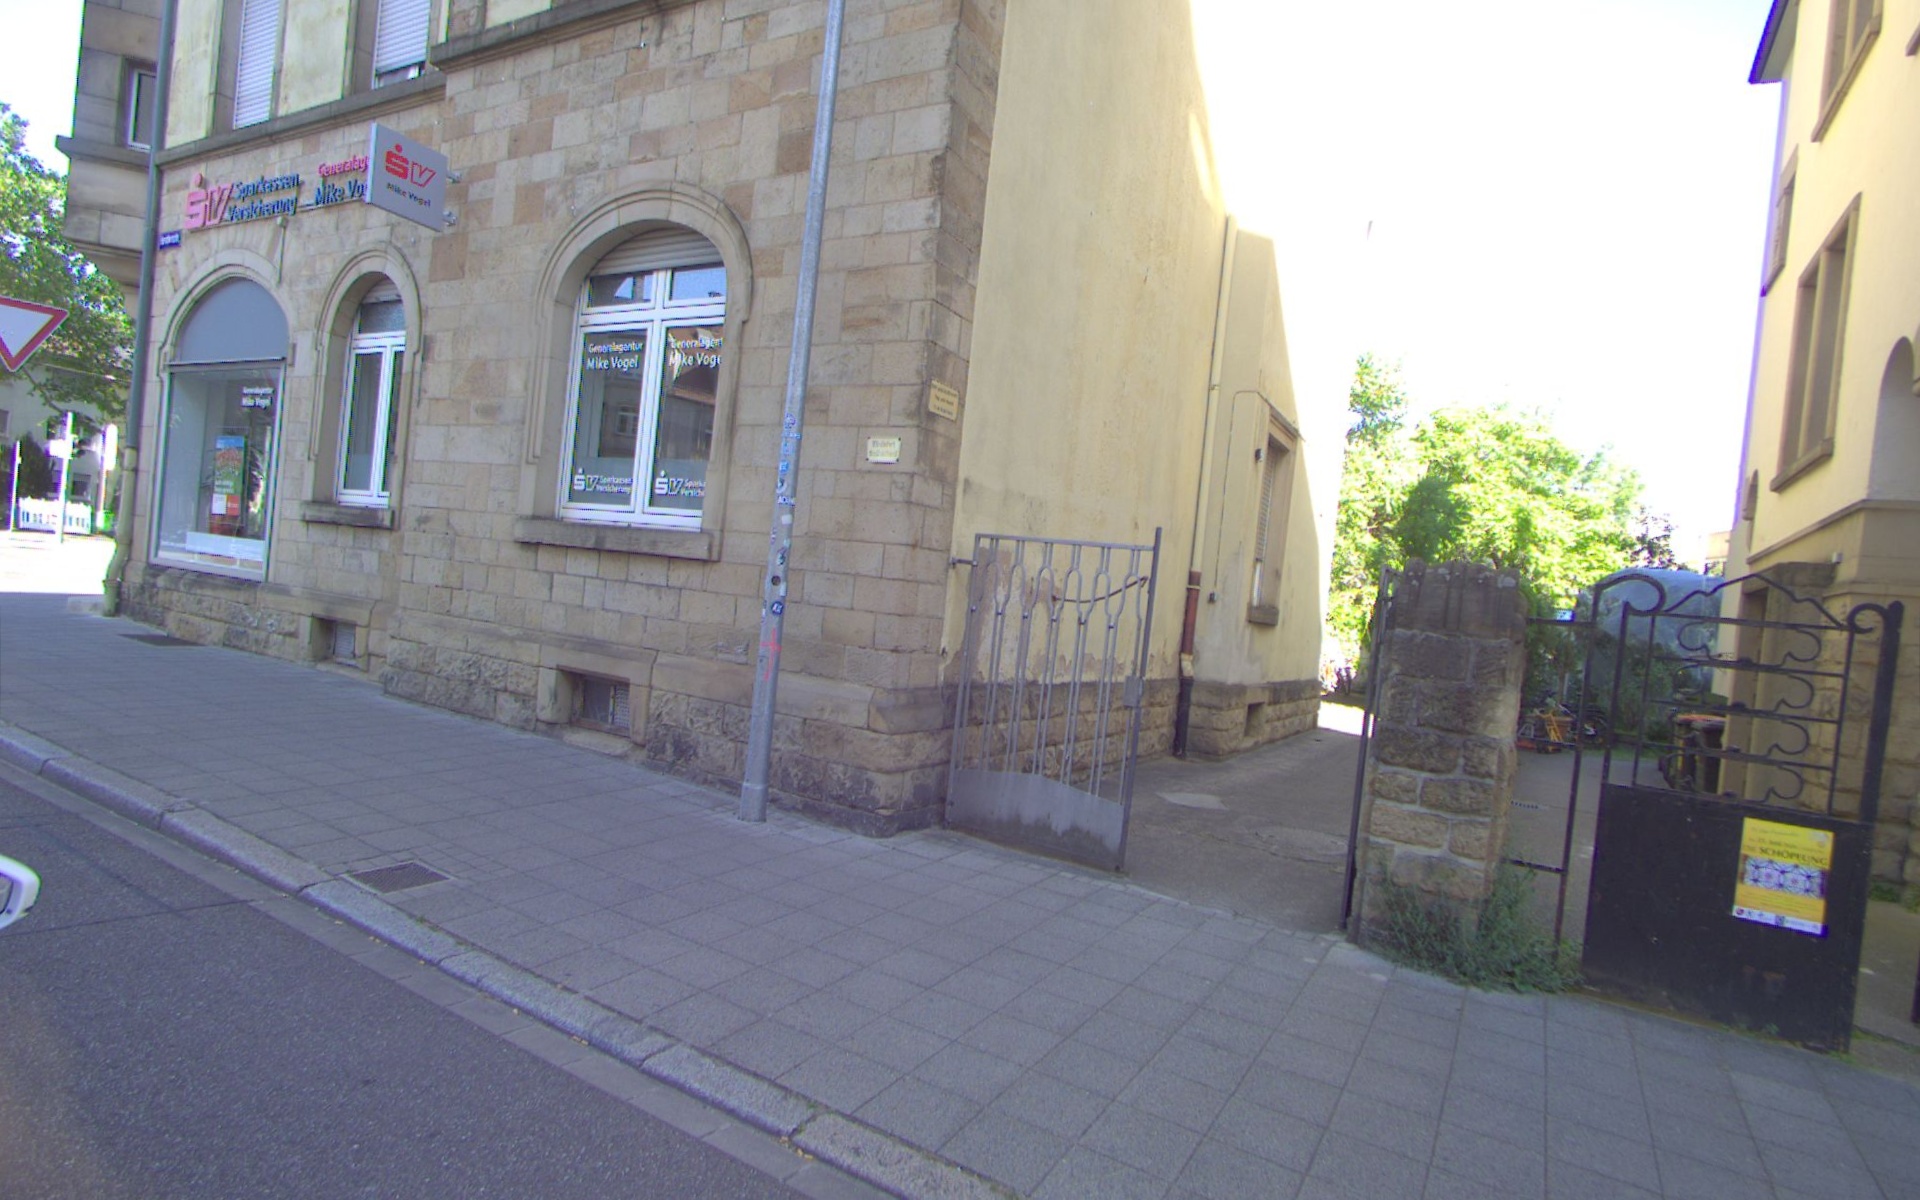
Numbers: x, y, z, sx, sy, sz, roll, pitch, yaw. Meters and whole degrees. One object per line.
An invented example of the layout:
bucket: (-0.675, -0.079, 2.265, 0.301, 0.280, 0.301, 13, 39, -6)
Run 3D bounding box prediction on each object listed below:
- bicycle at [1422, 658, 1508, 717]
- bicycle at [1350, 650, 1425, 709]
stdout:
bicycle: (12.293, 2.101, 24.621, 0.855, 1.124, 2.864, 6, 0, 7)
bicycle: (10.606, 1.944, 25.092, 0.860, 1.180, 2.659, 6, 0, 6)
